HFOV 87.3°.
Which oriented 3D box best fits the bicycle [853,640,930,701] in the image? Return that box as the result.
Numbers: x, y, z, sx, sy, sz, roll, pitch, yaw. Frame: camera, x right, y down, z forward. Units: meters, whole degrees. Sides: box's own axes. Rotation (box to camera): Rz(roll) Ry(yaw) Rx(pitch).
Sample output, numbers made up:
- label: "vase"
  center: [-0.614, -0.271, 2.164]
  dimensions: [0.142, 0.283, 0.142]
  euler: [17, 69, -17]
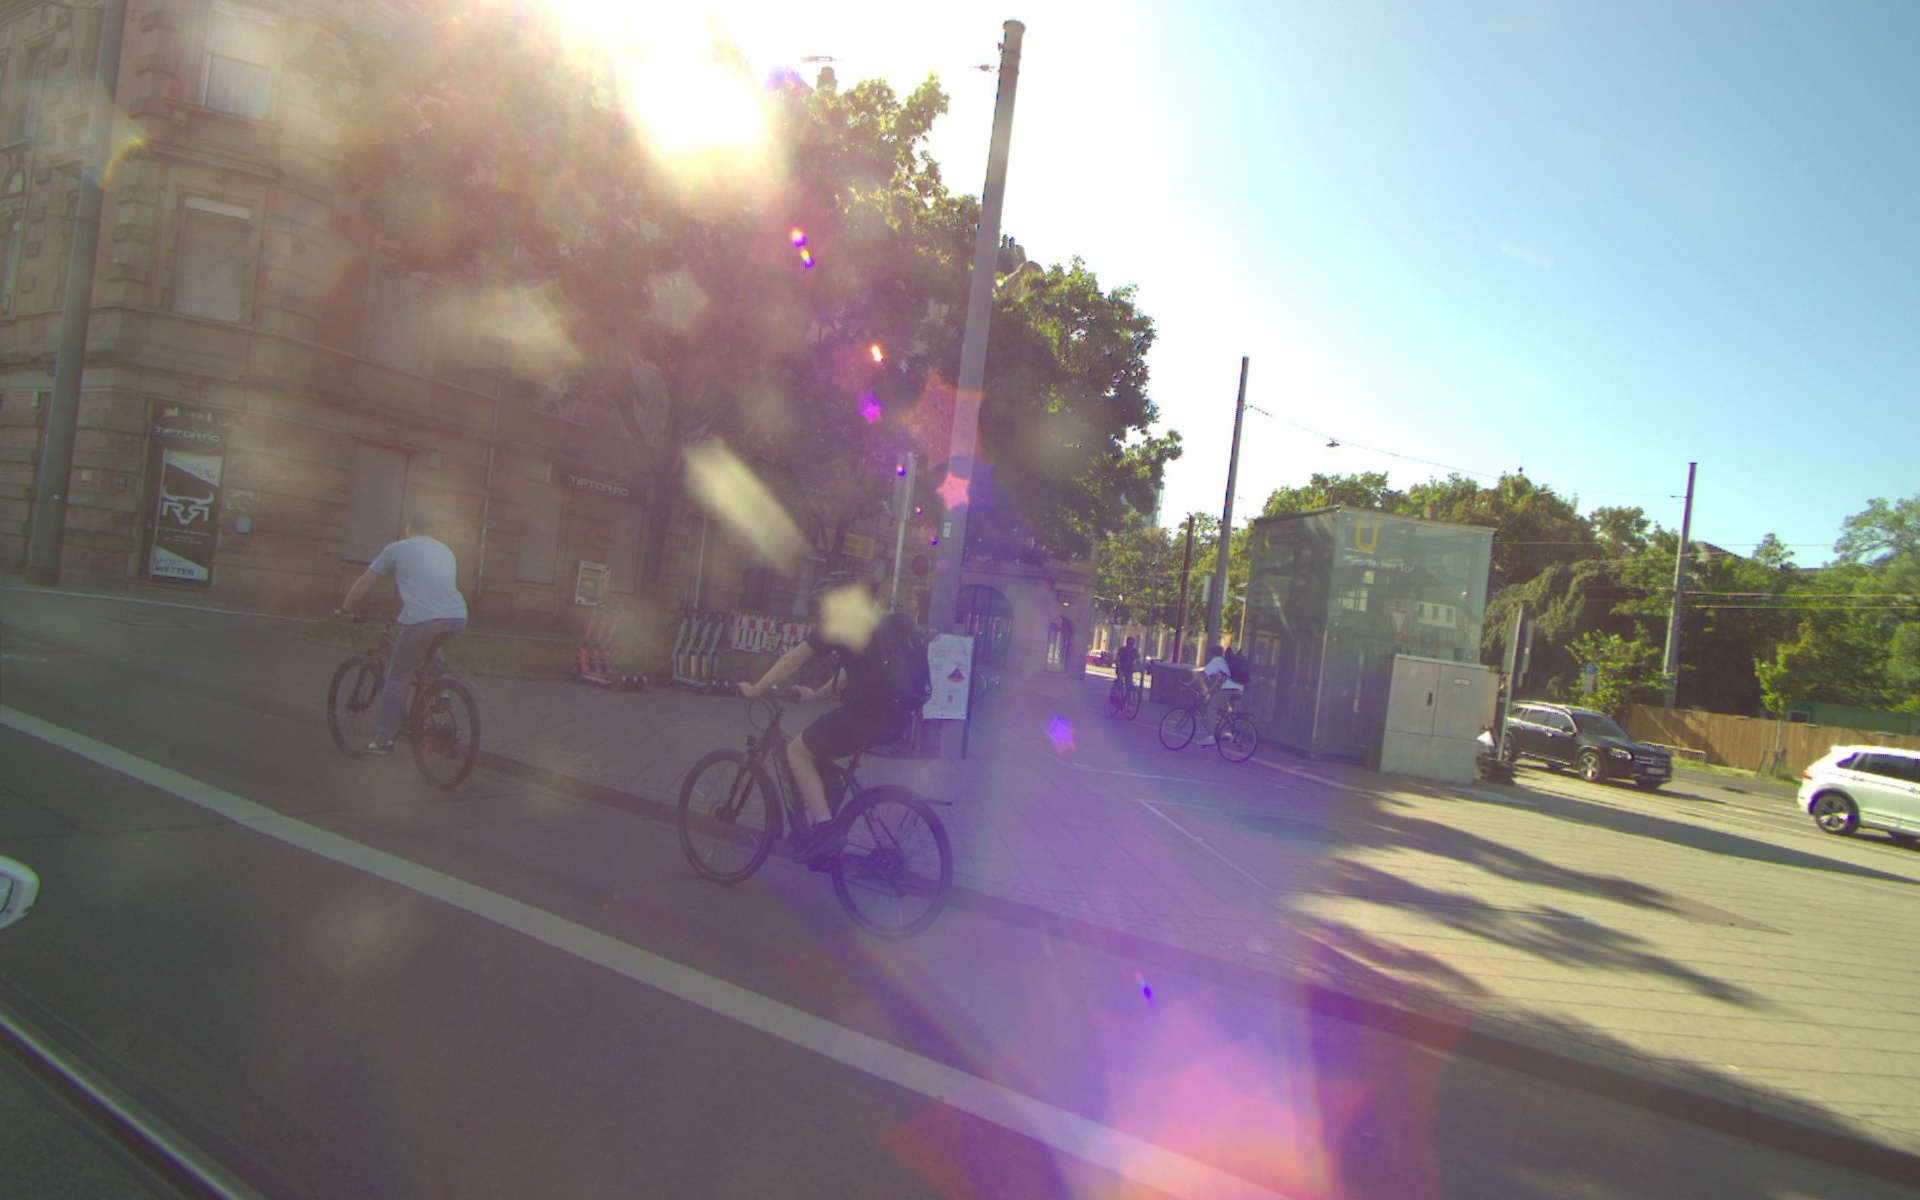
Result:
- label: "bicycle"
  center: [-1.409, 1.441, 20.599]
  dimensions: [1.436, 1.073, 0.404]
  euler: [6, -2, 26]

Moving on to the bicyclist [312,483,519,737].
- label: "bicyclist"
  center: [-3.797, 0.073, 7.034]
  dimensions: [0.871, 1.612, 0.784]
  euler: [6, -1, 30]

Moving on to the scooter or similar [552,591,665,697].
- label: "scooter or similar"
  center: [-4.737, 0.578, 13.499]
  dimensions: [1.675, 1.233, 0.271]
  euler: [6, -2, 30]

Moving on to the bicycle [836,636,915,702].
- label: "bicycle"
  center: [-1.609, 1.306, 19.155]
  dimensions: [1.326, 1.073, 0.405]
  euler: [7, -2, 14]

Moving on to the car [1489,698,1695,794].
- label: "car"
  center: [15.403, 3.507, 24.821]
  dimensions: [1.886, 1.706, 4.248]
  euler: [6, -2, -8]

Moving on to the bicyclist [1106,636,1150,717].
- label: "bicyclist"
  center: [3.684, 1.663, 22.101]
  dimensions: [0.447, 1.679, 1.045]
  euler: [7, -2, -10]

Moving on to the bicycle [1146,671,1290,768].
- label: "bicycle"
  center: [3.704, 1.705, 14.566]
  dimensions: [1.909, 1.130, 0.530]
  euler: [5, -3, 45]

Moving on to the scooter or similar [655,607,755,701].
- label: "scooter or similar"
  center: [-3.766, 0.779, 14.791]
  dimensions: [1.538, 1.198, 0.271]
  euler: [6, -2, 30]

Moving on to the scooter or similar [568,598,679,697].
- label: "scooter or similar"
  center: [-4.625, 0.635, 13.772]
  dimensions: [1.675, 1.170, 0.271]
  euler: [6, -2, 30]

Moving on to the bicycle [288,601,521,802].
- label: "bicycle"
  center: [-3.919, 0.664, 7.034]
  dimensions: [1.901, 1.082, 0.387]
  euler: [7, 0, 30]

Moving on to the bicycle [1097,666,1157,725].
- label: "bicycle"
  center: [3.652, 2.070, 22.149]
  dimensions: [0.480, 1.070, 2.193]
  euler: [7, -2, -10]

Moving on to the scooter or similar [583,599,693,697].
- label: "scooter or similar"
  center: [-4.506, 0.659, 14.035]
  dimensions: [1.675, 1.176, 0.271]
  euler: [6, -2, 30]

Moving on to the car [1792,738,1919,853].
- label: "car"
  center: [16.875, 3.466, 16.866]
  dimensions: [1.886, 1.640, 4.248]
  euler: [6, -2, -8]

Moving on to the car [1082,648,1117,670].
- label: "car"
  center: [13.058, 5.506, 94.294]
  dimensions: [1.888, 1.640, 3.813]
  euler: [6, -2, -13]

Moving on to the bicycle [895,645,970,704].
- label: "bicycle"
  center: [-0.591, 1.587, 21.513]
  dimensions: [1.435, 1.073, 0.405]
  euler: [6, -2, 23]

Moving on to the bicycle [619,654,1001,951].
- label: "bicycle"
  center: [-0.812, 0.946, 5.165]
  dimensions: [1.900, 1.131, 0.533]
  euler: [5, -1, 29]

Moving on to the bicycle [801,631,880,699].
- label: "bicycle"
  center: [-2.173, 1.172, 18.211]
  dimensions: [1.329, 1.073, 0.404]
  euler: [6, -2, 30]

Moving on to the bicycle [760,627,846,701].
- label: "bicycle"
  center: [-2.683, 1.081, 17.132]
  dimensions: [1.459, 1.073, 0.404]
  euler: [5, -3, 35]

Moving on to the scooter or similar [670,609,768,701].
- label: "scooter or similar"
  center: [-3.623, 0.815, 15.072]
  dimensions: [1.538, 1.198, 0.271]
  euler: [6, -2, 30]

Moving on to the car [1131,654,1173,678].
- label: "car"
  center: [15.966, 5.467, 83.899]
  dimensions: [1.888, 1.640, 3.813]
  euler: [6, -2, -13]

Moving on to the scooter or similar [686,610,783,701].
- label: "scooter or similar"
  center: [-3.455, 0.837, 15.358]
  dimensions: [1.538, 1.209, 0.271]
  euler: [6, -2, 30]

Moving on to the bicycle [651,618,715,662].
- label: "bicycle"
  center: [-6.410, 0.930, 23.343]
  dimensions: [0.398, 0.865, 1.419]
  euler: [6, -3, 36]

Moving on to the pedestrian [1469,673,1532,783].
- label: "pedestrian"
  center: [9.779, 2.297, 18.207]
  dimensions: [0.538, 1.869, 0.649]
  euler: [7, -2, -13]

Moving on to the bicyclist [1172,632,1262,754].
- label: "bicyclist"
  center: [3.719, 1.337, 14.604]
  dimensions: [0.595, 1.631, 0.944]
  euler: [8, -3, -36]

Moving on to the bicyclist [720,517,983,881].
- label: "bicyclist"
  center: [-0.539, 0.467, 5.129]
  dimensions: [0.963, 1.631, 0.625]
  euler: [6, -2, 26]
